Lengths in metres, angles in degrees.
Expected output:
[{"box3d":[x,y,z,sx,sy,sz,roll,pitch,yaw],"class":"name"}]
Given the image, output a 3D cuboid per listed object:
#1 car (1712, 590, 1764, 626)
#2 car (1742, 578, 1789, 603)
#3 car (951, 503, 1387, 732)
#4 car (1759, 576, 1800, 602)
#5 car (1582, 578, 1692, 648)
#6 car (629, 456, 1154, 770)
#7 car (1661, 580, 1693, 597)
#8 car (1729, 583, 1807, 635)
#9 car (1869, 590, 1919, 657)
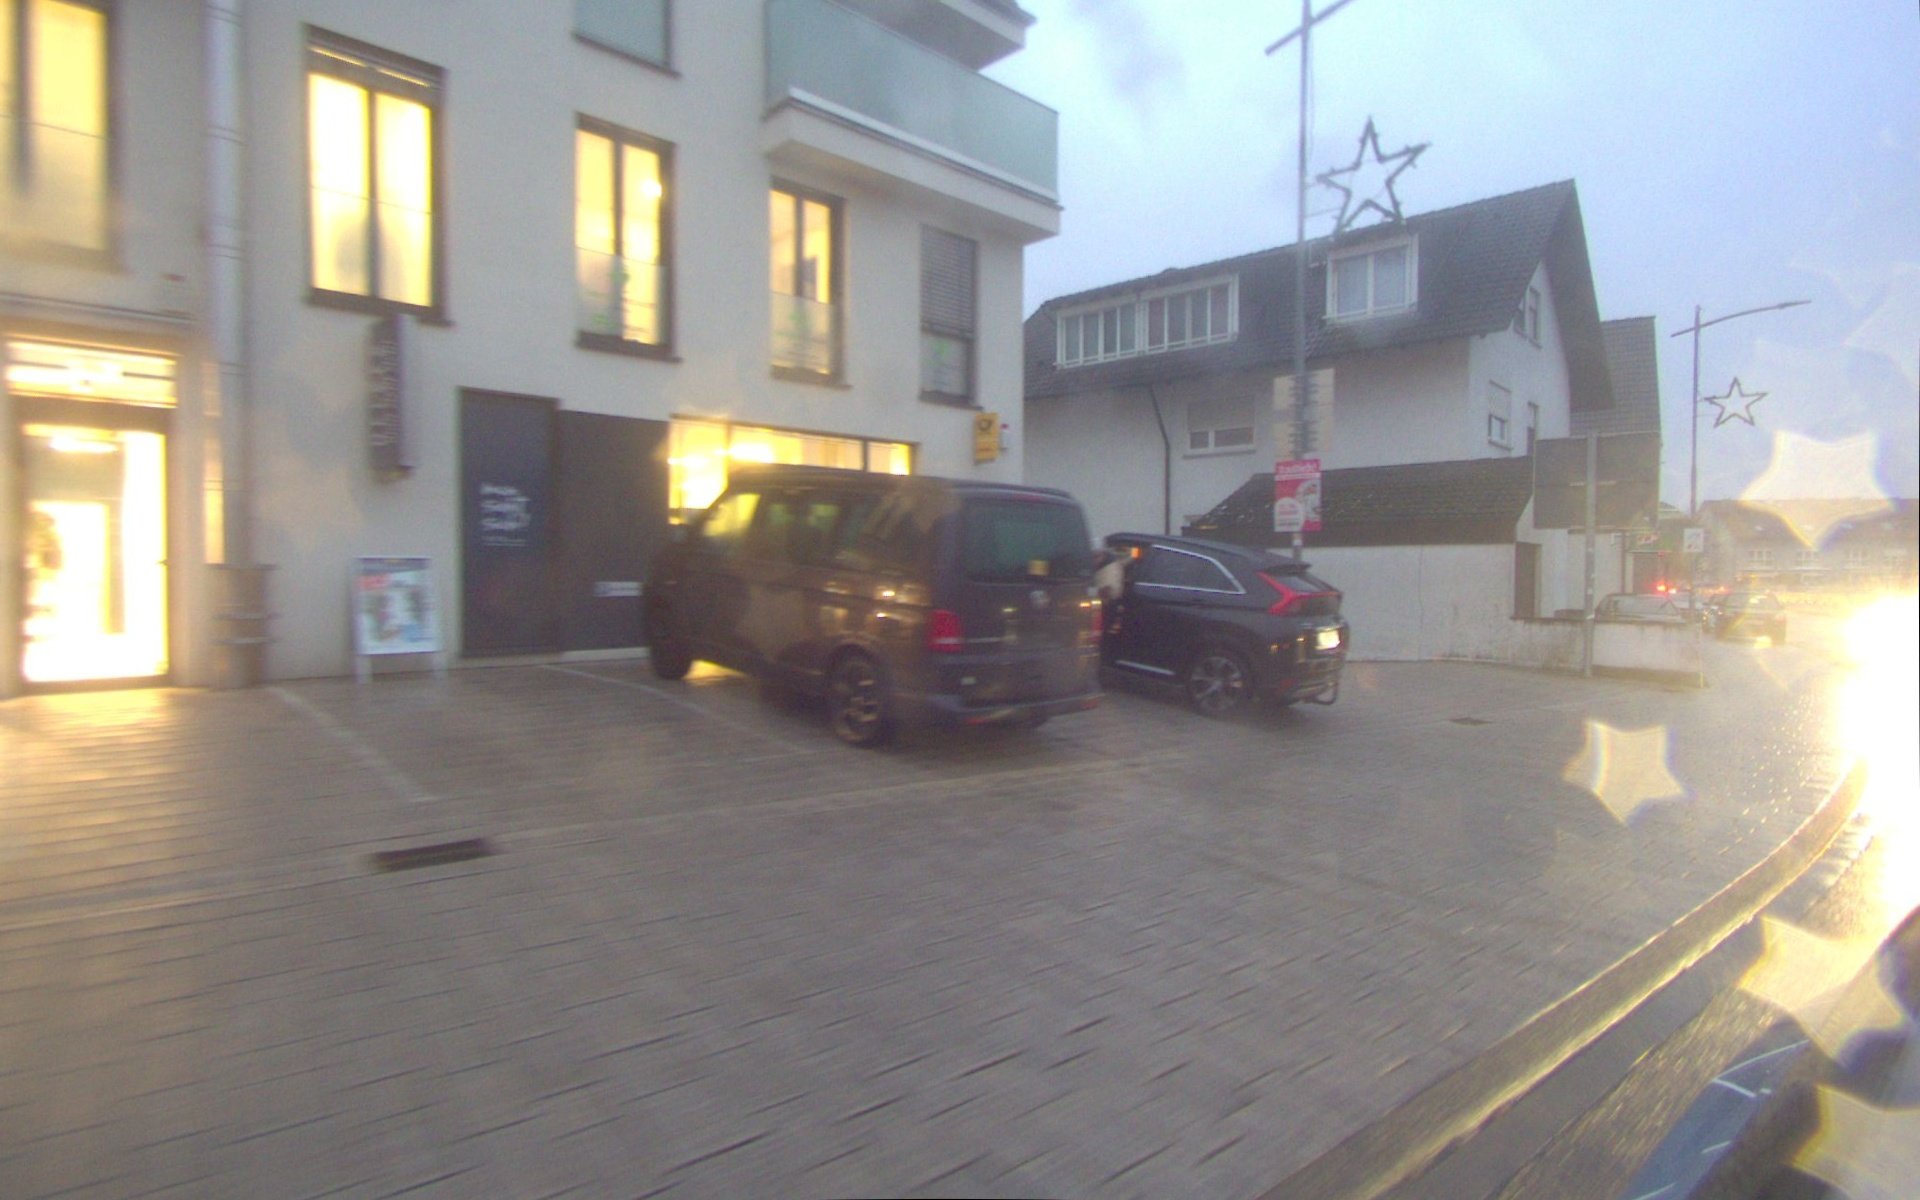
[{"box3d":[30.173,0.293,39.211,1.491,1.307,3.244,2,1,39],"class":"car"},{"box3d":[51.561,-0.597,64.876,1.657,1.541,3.959,3,1,29],"class":"car"},{"box3d":[2.094,0.031,10.870,4.138,1.653,1.730,11,7,39],"class":"car"},{"box3d":[66.030,-0.869,81.560,1.984,2.039,3.957,0,1,31],"class":"car"},{"box3d":[16.755,0.284,24.986,1.771,1.515,3.722,4,2,41],"class":"car"},{"box3d":[-0.852,-0.135,8.679,1.942,1.956,4.548,1,5,-44],"class":"car"},{"box3d":[65.473,-1.012,92.451,1.737,1.435,3.721,3,1,26],"class":"car"},{"box3d":[26.923,0.270,33.682,1.842,1.606,3.712,2,1,41],"class":"car"},{"box3d":[23.194,0.527,24.381,1.563,1.487,3.569,0,1,37],"class":"car"}]
